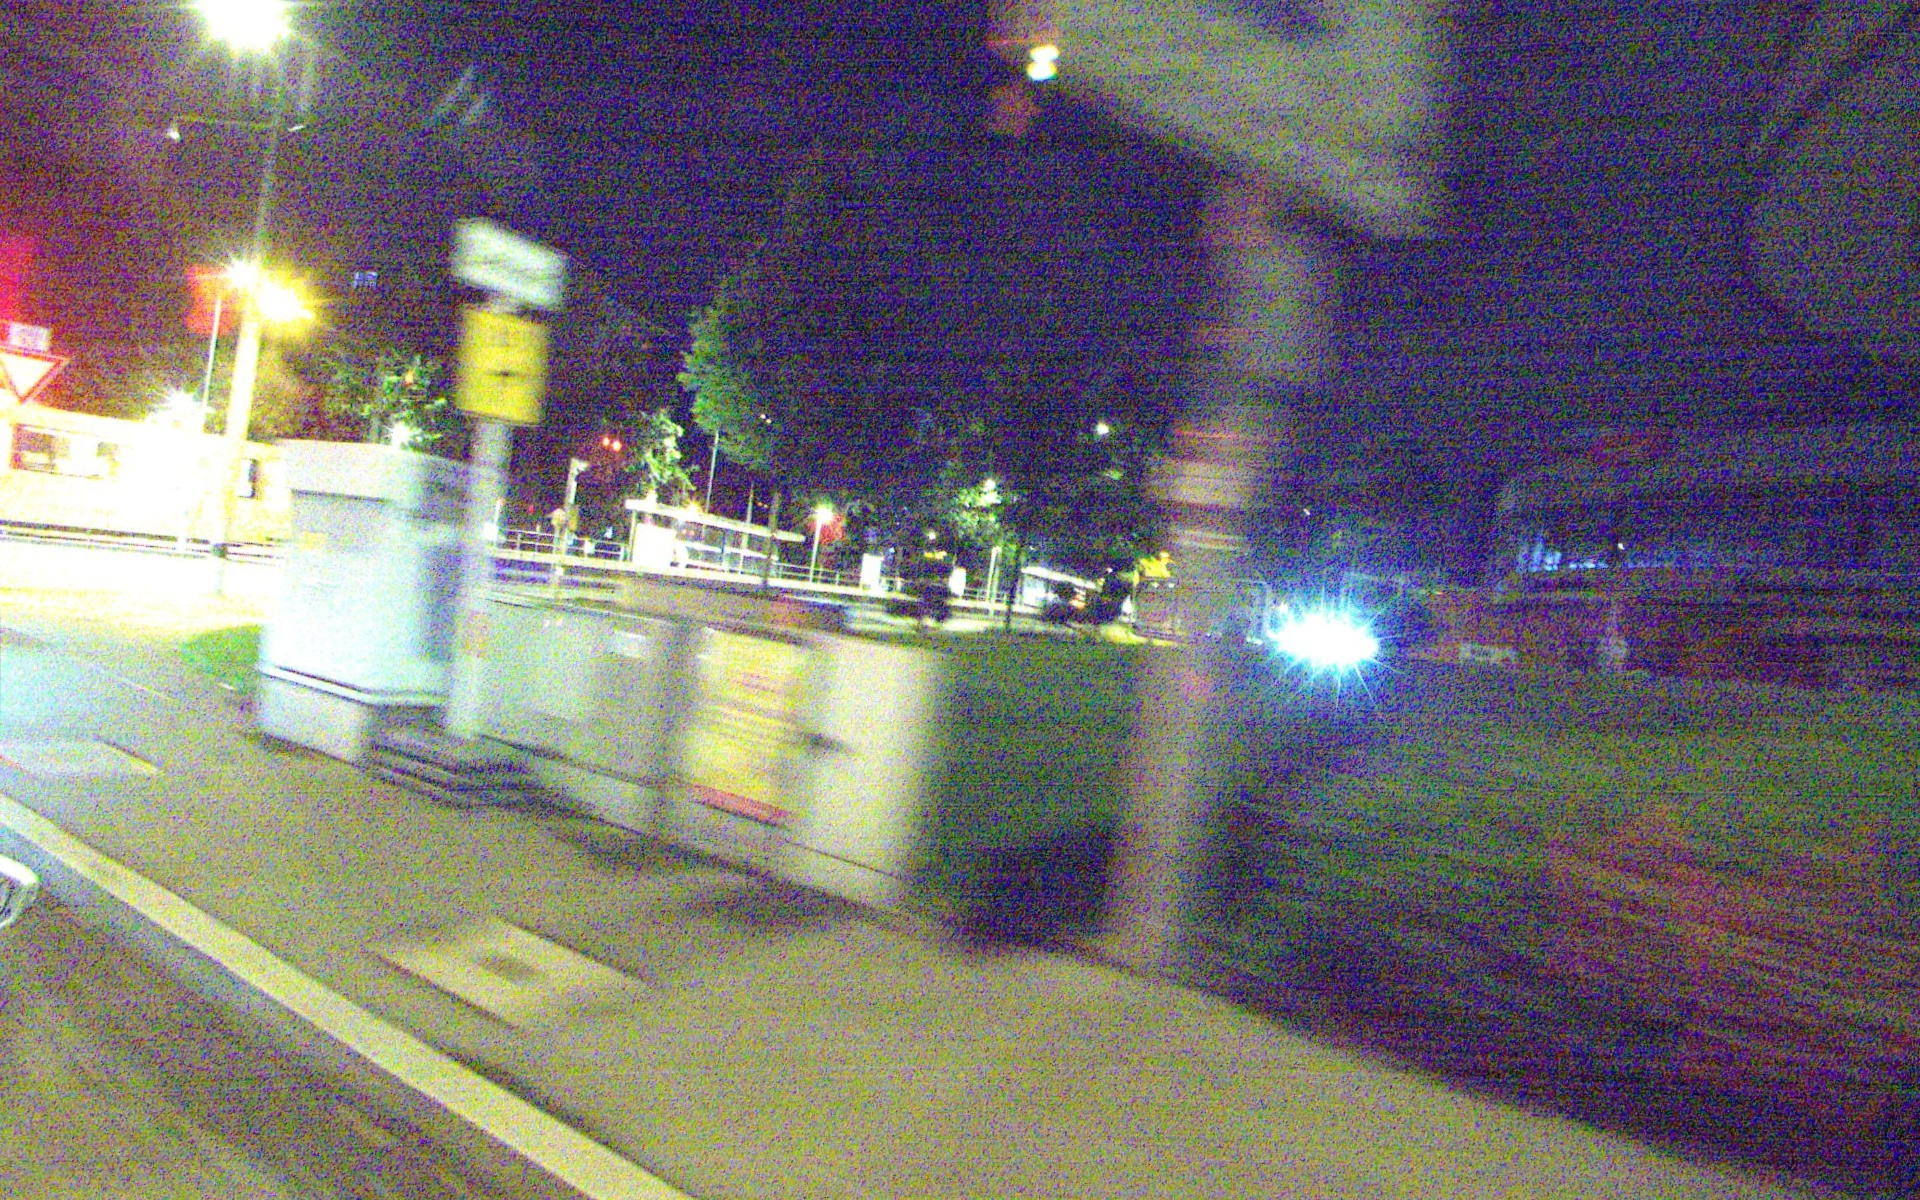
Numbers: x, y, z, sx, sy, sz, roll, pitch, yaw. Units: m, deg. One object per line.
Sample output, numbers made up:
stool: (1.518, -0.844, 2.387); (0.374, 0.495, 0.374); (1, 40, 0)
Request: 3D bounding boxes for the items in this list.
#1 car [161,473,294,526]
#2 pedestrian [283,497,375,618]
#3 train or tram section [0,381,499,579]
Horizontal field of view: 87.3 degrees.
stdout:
car: (-30.115, -4.126, 41.442); (1.842, 1.637, 4.051); (7, 2, 40)
pedestrian: (-9.680, -0.644, 15.436); (0.763, 1.734, 0.899); (6, 2, 37)
train or tram section: (-23.657, -3.513, 29.559); (2.879, 3.870, 19.168); (7, 0, 37)
